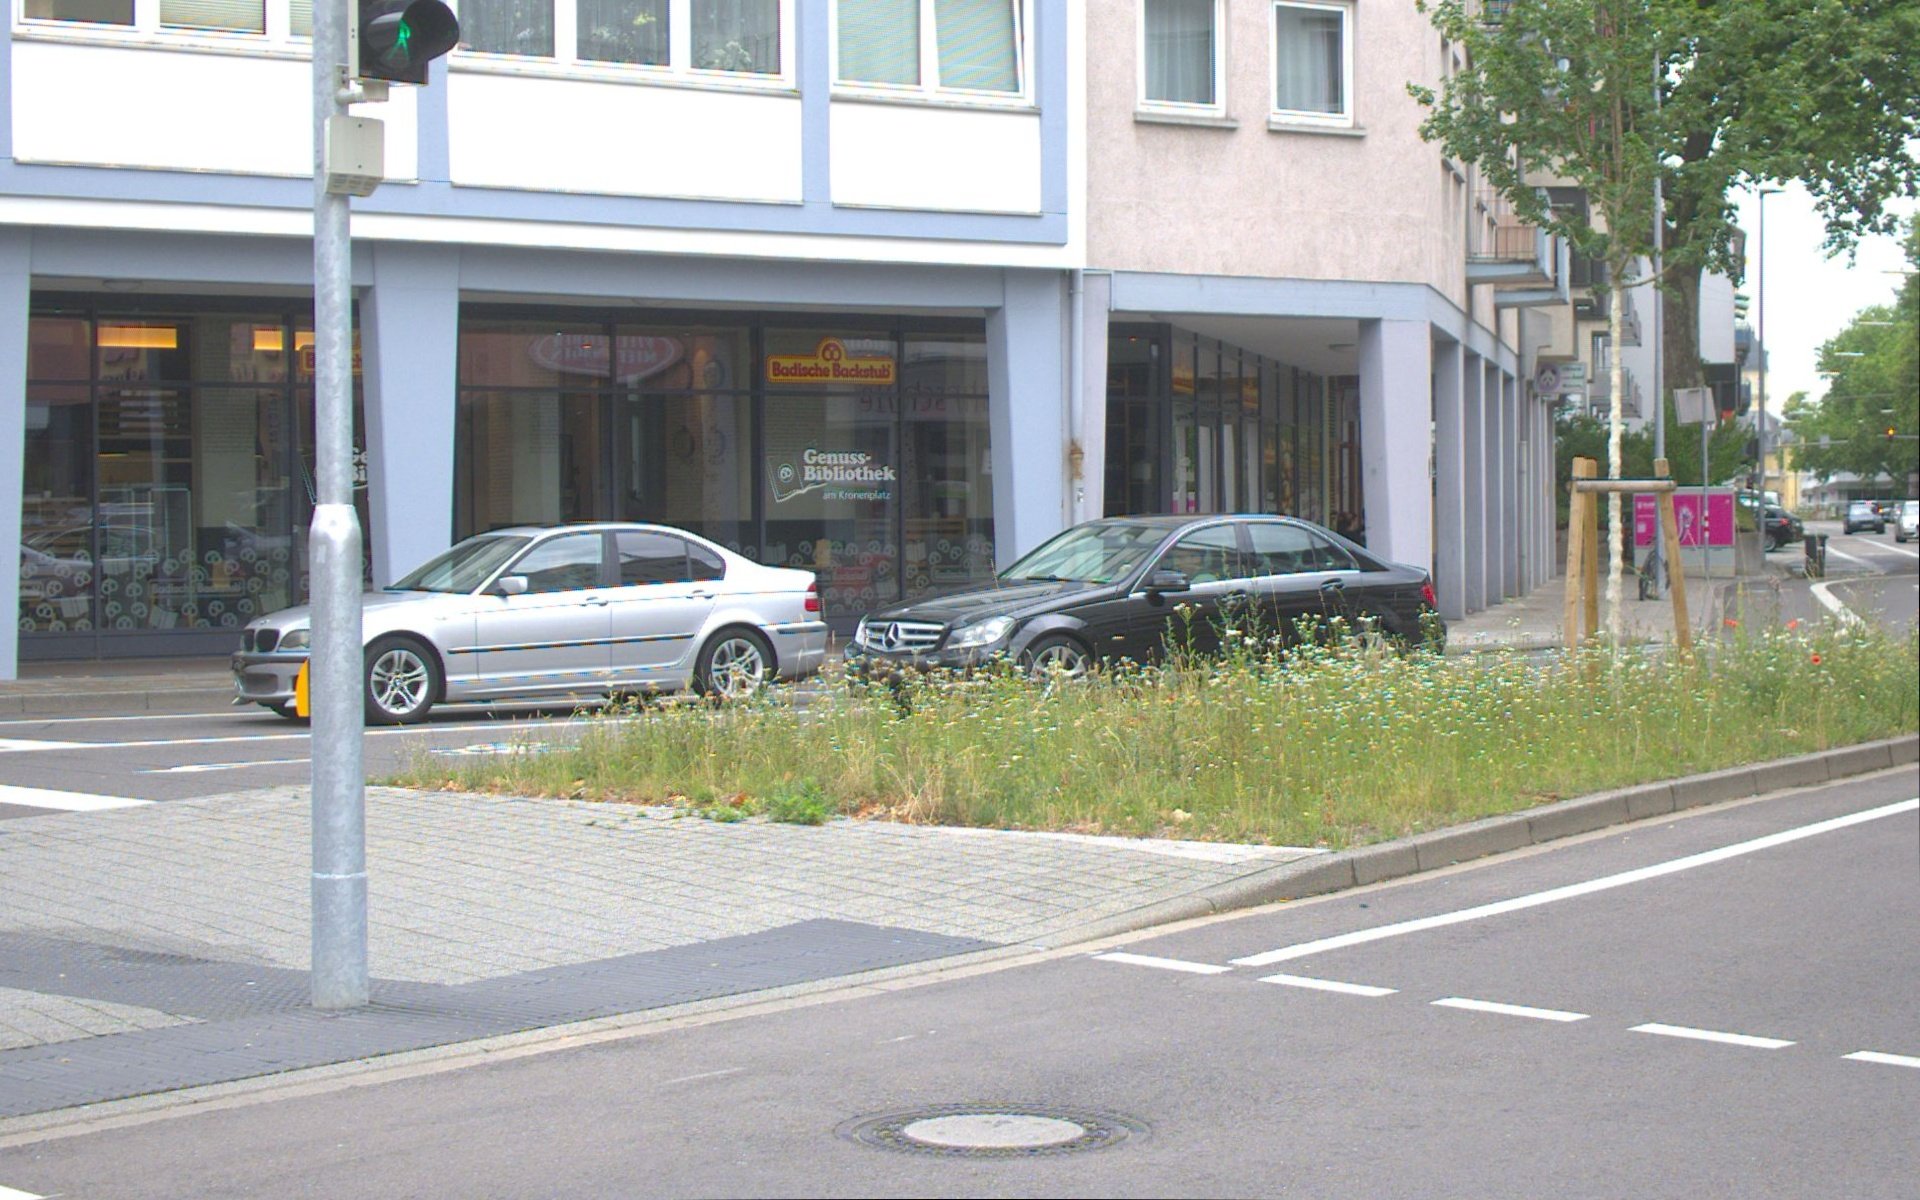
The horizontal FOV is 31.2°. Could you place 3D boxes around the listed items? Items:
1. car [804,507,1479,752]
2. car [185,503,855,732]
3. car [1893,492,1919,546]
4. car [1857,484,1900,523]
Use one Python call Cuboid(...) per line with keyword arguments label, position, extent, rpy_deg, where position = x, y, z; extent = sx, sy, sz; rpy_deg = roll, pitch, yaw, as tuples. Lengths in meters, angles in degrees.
Cuboid(label="car", position=(1.321, 0.144, 23.877), extent=(4.553, 1.476, 1.748), rpy_deg=(-2, 2, -35))
Cuboid(label="car", position=(-3.164, 0.072, 25.193), extent=(4.553, 1.476, 1.748), rpy_deg=(-2, 2, -35))
Cuboid(label="car", position=(33.293, -2.810, 118.878), extent=(1.864, 1.768, 3.981), rpy_deg=(1, 2, 14))
Cuboid(label="car", position=(43.204, -4.560, 161.732), extent=(1.864, 1.768, 3.981), rpy_deg=(1, 2, 14))
